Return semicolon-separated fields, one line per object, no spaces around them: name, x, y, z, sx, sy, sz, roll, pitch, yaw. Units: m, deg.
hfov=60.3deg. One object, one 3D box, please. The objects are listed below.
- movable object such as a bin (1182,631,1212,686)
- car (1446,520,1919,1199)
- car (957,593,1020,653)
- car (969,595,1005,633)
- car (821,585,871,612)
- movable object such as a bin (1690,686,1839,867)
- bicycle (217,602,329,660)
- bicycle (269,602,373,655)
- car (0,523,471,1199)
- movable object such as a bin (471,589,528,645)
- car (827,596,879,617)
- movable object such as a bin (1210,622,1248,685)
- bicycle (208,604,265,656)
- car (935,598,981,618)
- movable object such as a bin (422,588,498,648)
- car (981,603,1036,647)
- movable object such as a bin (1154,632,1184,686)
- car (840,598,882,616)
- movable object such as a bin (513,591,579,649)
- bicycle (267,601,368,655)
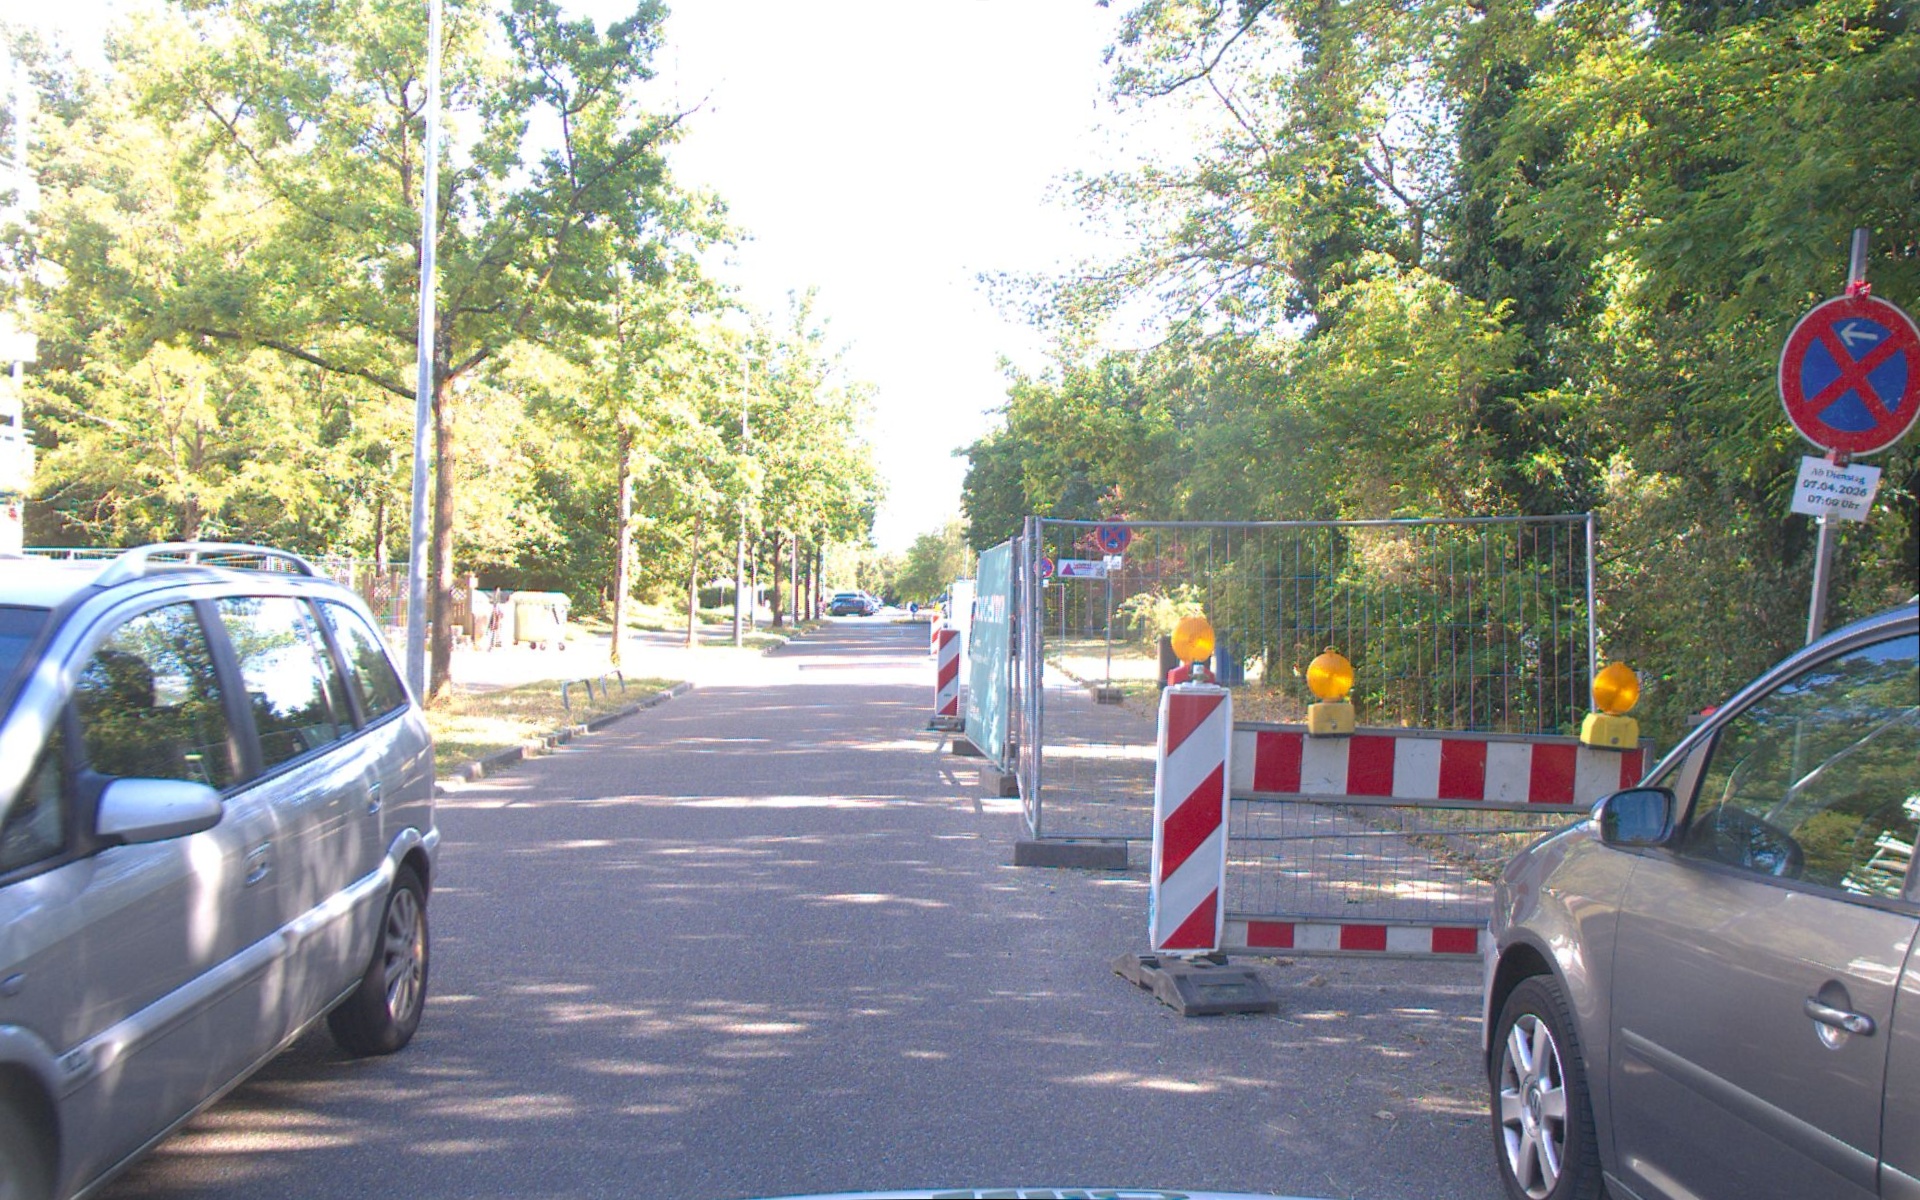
movable object such as a bin;3.925;0.961;27.420;0.404;0.885;0.484;-1;-1;-1
car;2.327;0.722;2.743;1.645;1.650;4.135;2;0;-2
car;0.932;0.692;50.996;1.772;1.680;4.422;2;0;2
car;1.324;0.668;82.461;1.590;1.804;3.668;2;0;-1
car;-11.899;-0.153;172.435;5.100;2.666;2.290;2;0;-7
movable object such as a bin;4.188;0.908;8.635;0.474;0.876;0.559;1;0;-4
bicycle;-12.630;0.568;30.444;1.837;1.045;0.399;1;-1;-15
bicycle;-12.820;0.570;33.212;1.882;1.045;0.399;1;-1;-15
car;-2.561;0.691;4.115;1.626;1.624;4.006;-1;0;-2
movable object such as a bin;-12.243;0.444;43.950;1.132;1.460;1.258;0;0;-35
car;-9.525;0.574;147.248;4.227;1.604;2.047;2;0;5
movable object such as a bin;4.434;0.883;27.311;0.508;1.017;0.608;-1;-1;-1
bicycle;-14.919;0.618;34.120;0.391;1.045;1.700;1;-1;1
car;-0.132;0.682;143.004;3.758;1.604;1.689;2;0;5
movable object such as a bin;-12.435;0.427;41.185;1.244;1.460;1.324;0;0;26
car;1.663;0.859;57.898;1.628;1.399;4.153;2;0;-2
movable object such as a bin;3.446;0.970;27.315;0.404;0.885;0.484;-1;-1;-1
car;-9.770;0.699;163.547;4.022;1.604;1.958;2;0;0
movable object such as a bin;-10.612;0.513;42.434;1.242;1.460;1.182;0;0;15
bicycle;-12.713;0.564;32.751;1.807;1.045;0.399;1;-1;-15
